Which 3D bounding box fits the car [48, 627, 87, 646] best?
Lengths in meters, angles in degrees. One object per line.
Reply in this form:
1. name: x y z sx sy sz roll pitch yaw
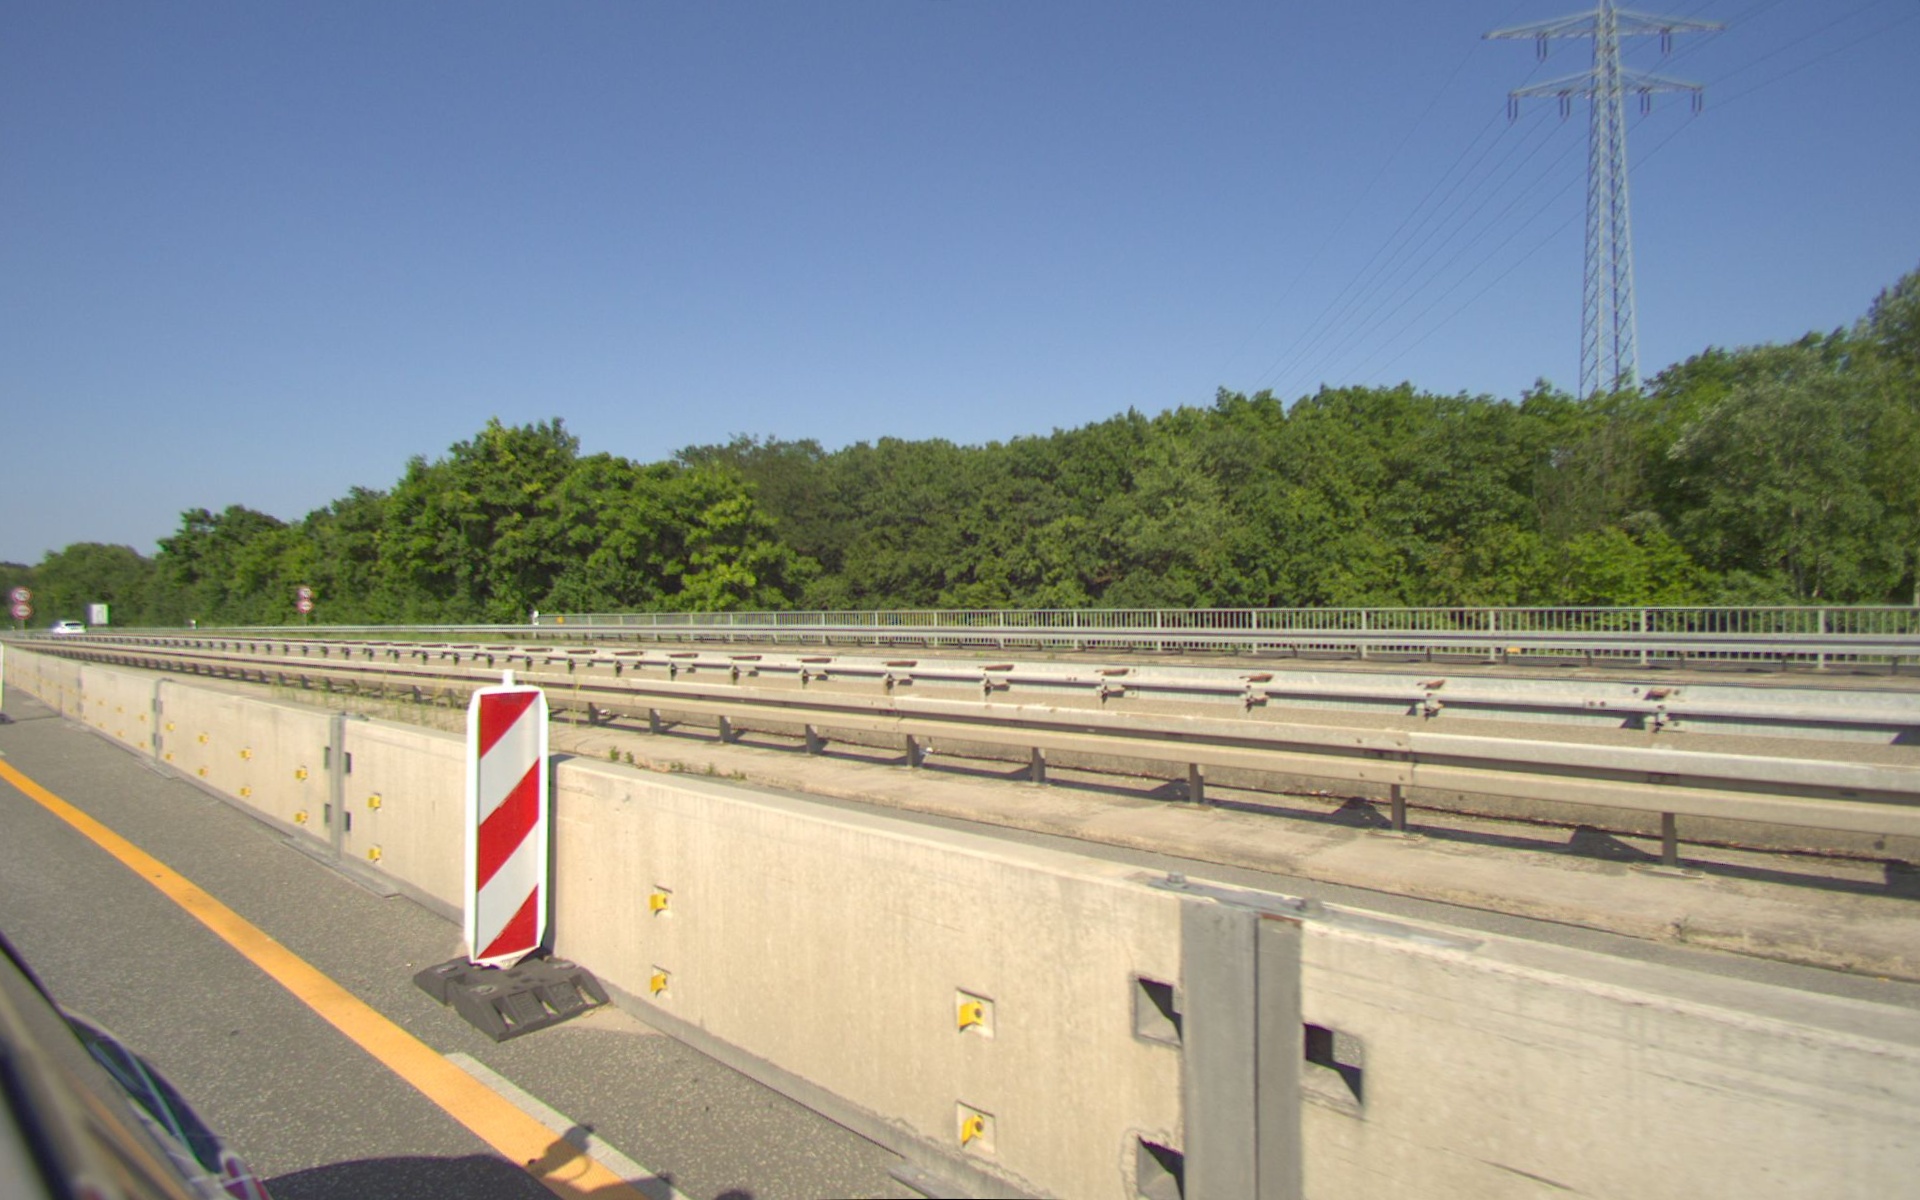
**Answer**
1. car: -71.967 2.906 81.564 4.549 1.349 1.722 -2 1 41
